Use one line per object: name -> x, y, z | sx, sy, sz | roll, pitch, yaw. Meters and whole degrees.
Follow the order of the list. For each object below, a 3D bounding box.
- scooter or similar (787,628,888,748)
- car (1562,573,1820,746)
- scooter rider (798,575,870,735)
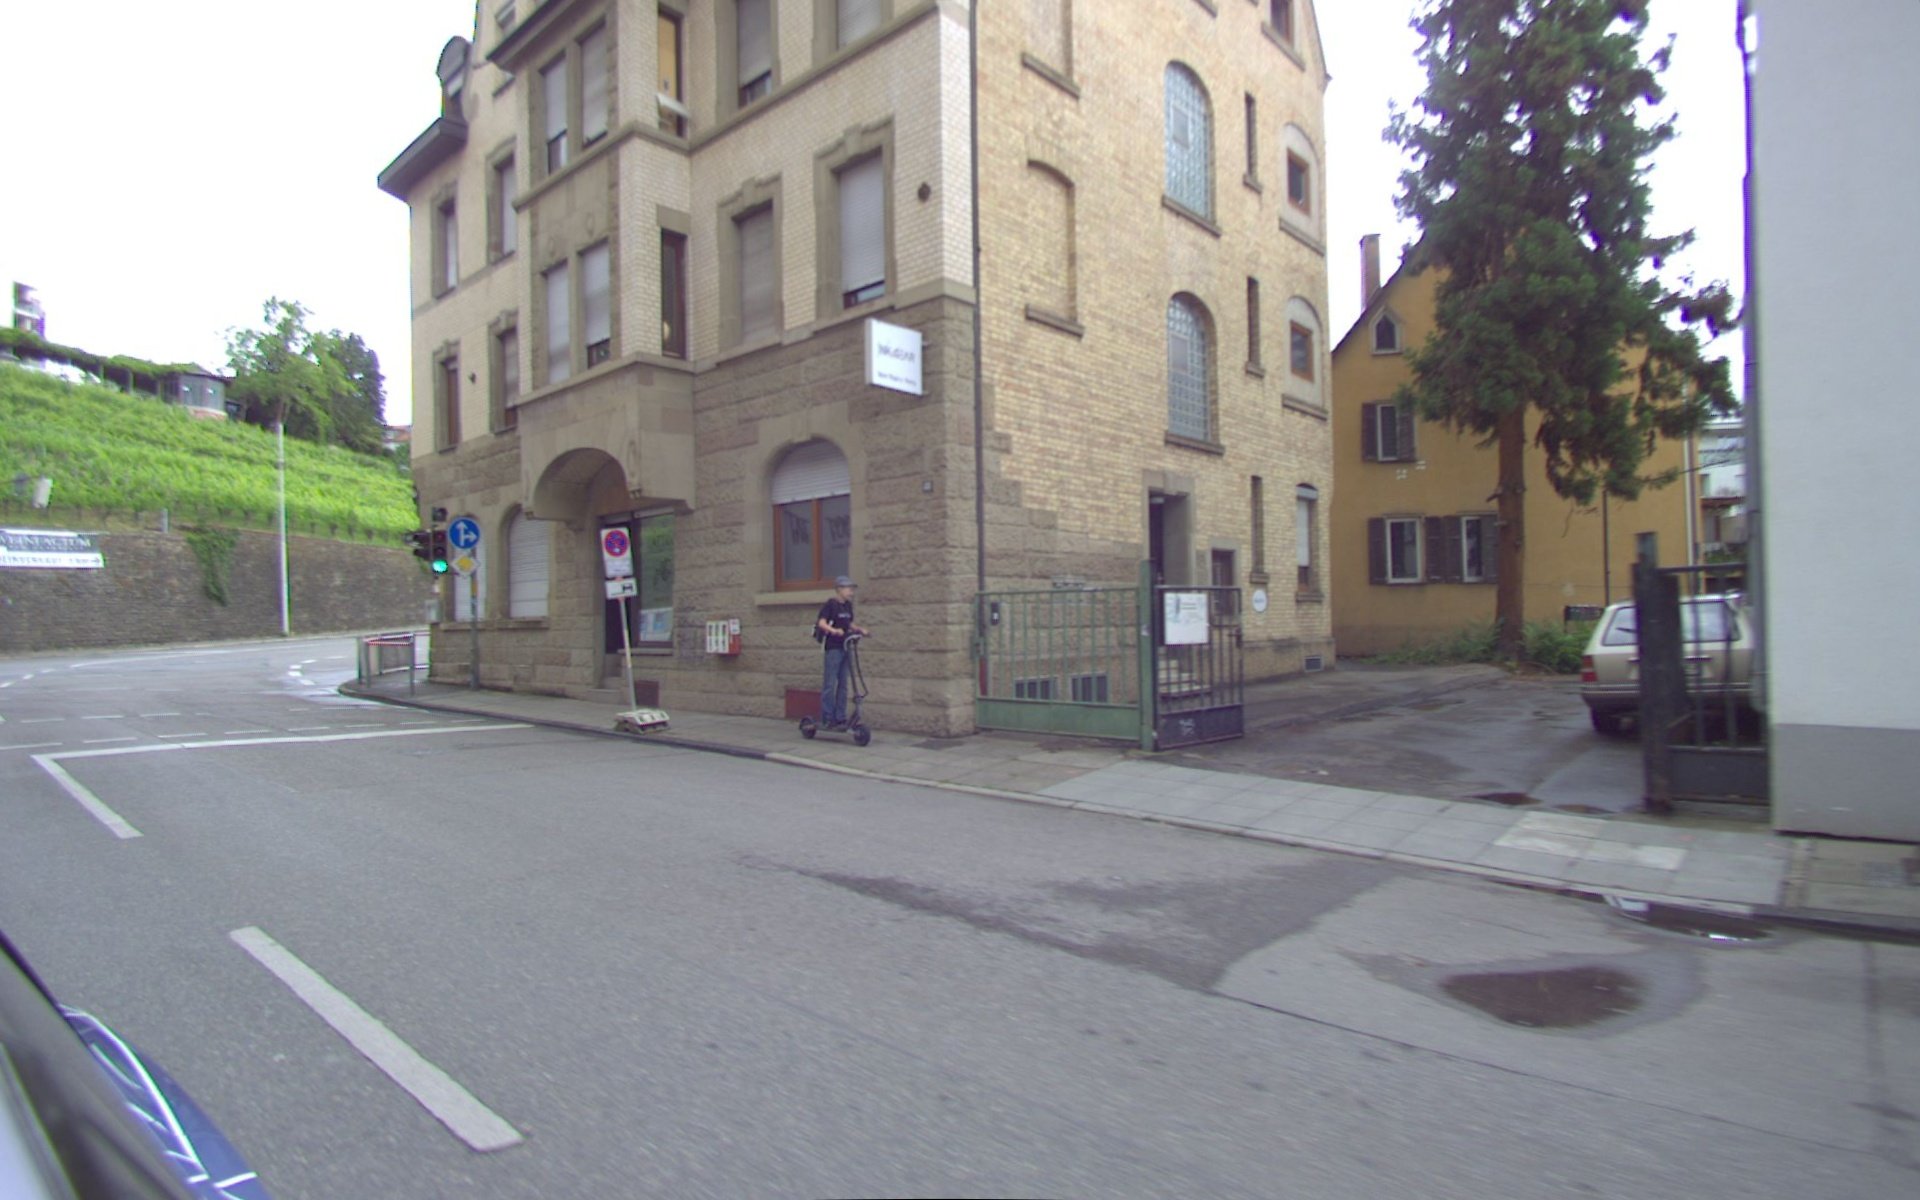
scooter or similar -> -1.373, 0.950, 11.249 | 1.226, 1.251, 0.374 | -2, 0, 43
car -> 8.243, 0.530, 11.278 | 1.798, 1.583, 3.871 | -2, 0, 44
scooter rider -> -1.401, 0.590, 11.265 | 0.577, 1.718, 0.482 | -2, 0, 40
